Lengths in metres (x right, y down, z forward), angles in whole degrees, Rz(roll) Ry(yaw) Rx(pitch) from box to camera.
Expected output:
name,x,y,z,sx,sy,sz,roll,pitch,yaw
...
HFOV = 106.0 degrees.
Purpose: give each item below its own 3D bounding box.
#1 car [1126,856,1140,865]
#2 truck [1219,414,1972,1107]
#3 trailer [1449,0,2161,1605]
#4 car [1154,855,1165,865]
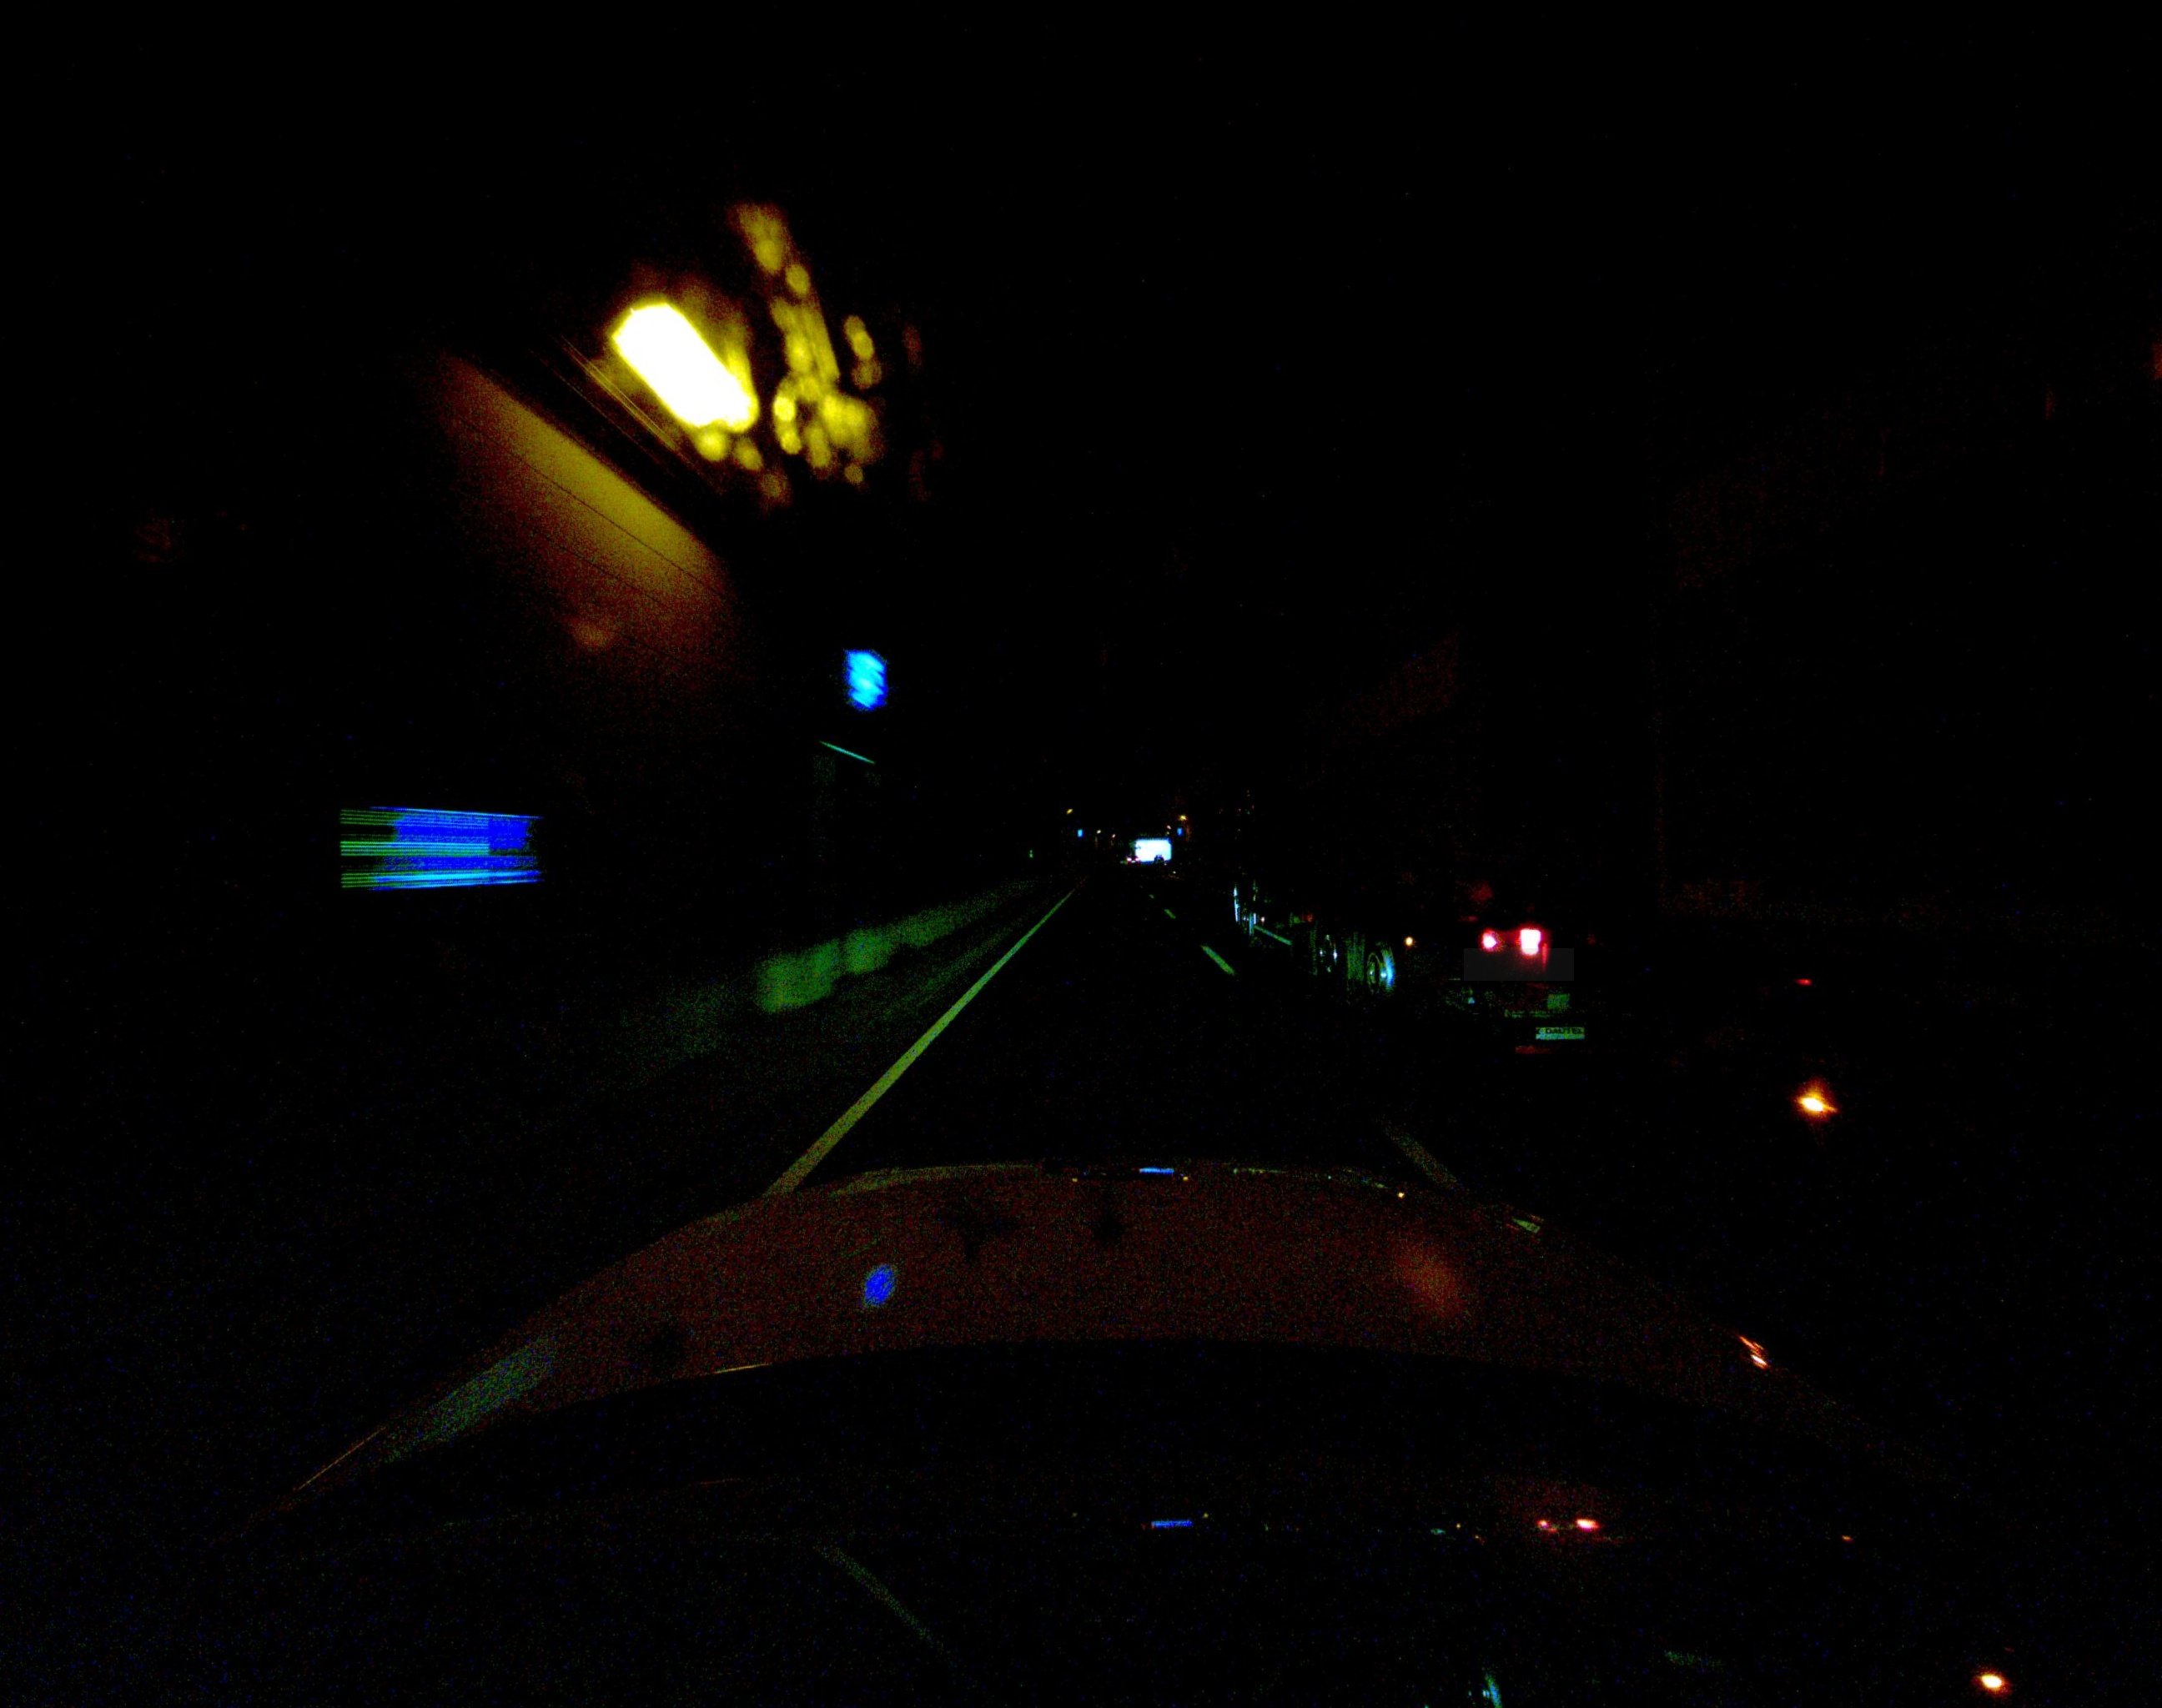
name,x,y,z,sx,sy,sz,roll,pitch,yaw
car,8.201,1.016,127.907,1.830,1.388,4.009,0,-1,8
truck,3.743,-0.523,9.577,2.878,3.913,9.913,0,0,2
trailer,3.384,-0.540,0.150,2.864,3.858,8.952,0,0,2
car,14.174,1.085,147.050,1.858,1.732,4.010,0,-1,9
